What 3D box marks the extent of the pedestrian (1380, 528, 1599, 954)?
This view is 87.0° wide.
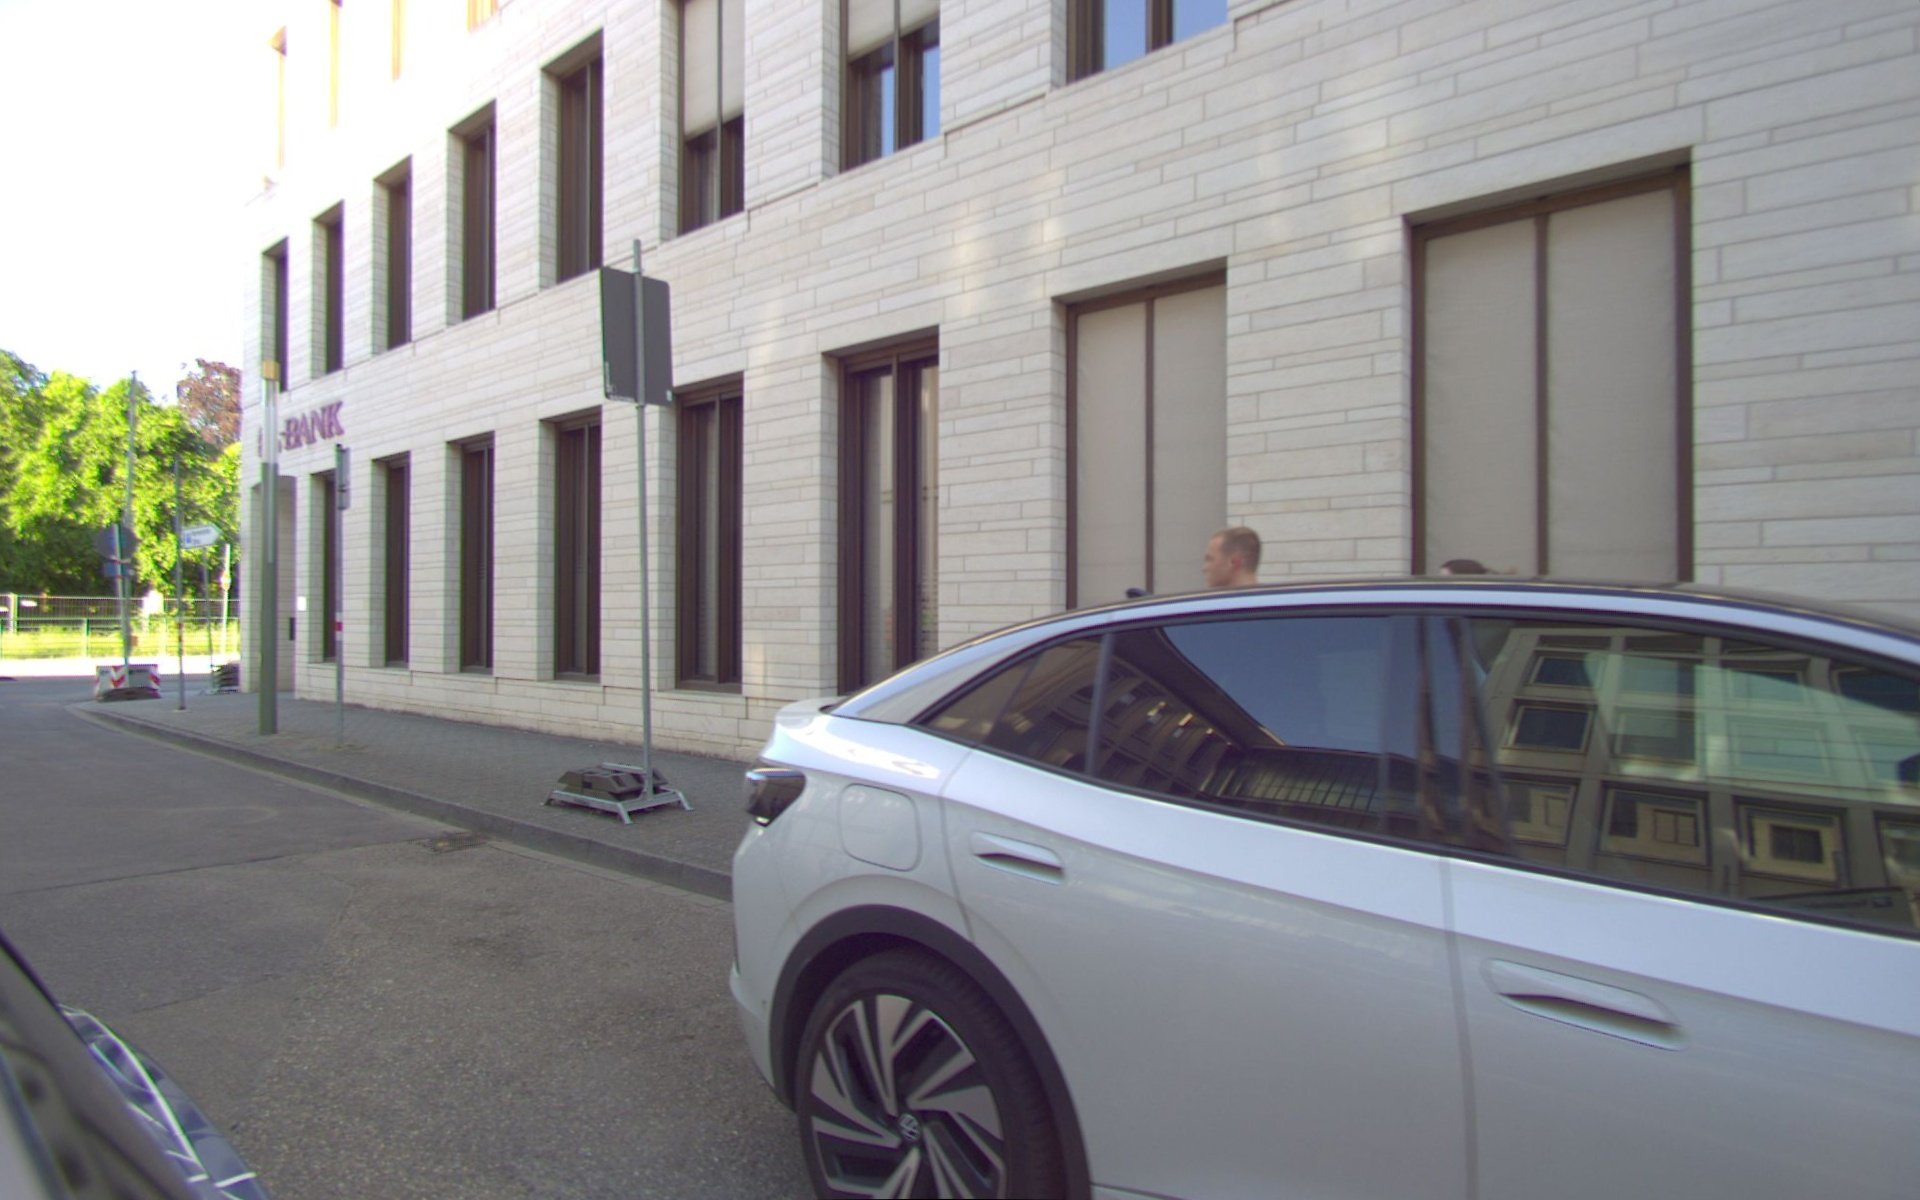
[{"bbox_3d":[2.511,0.597,4.799,0.816,1.803,0.637,0,0,39],"label":"pedestrian"}]

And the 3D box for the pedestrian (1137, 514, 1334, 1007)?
[{"bbox_3d":[1.132,0.587,4.139,0.575,1.803,0.635,0,0,39],"label":"pedestrian"}]

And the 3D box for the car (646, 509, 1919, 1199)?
[{"bbox_3d":[1.454,0.664,1.995,4.442,1.553,1.804,-2,0,39],"label":"car"}]
